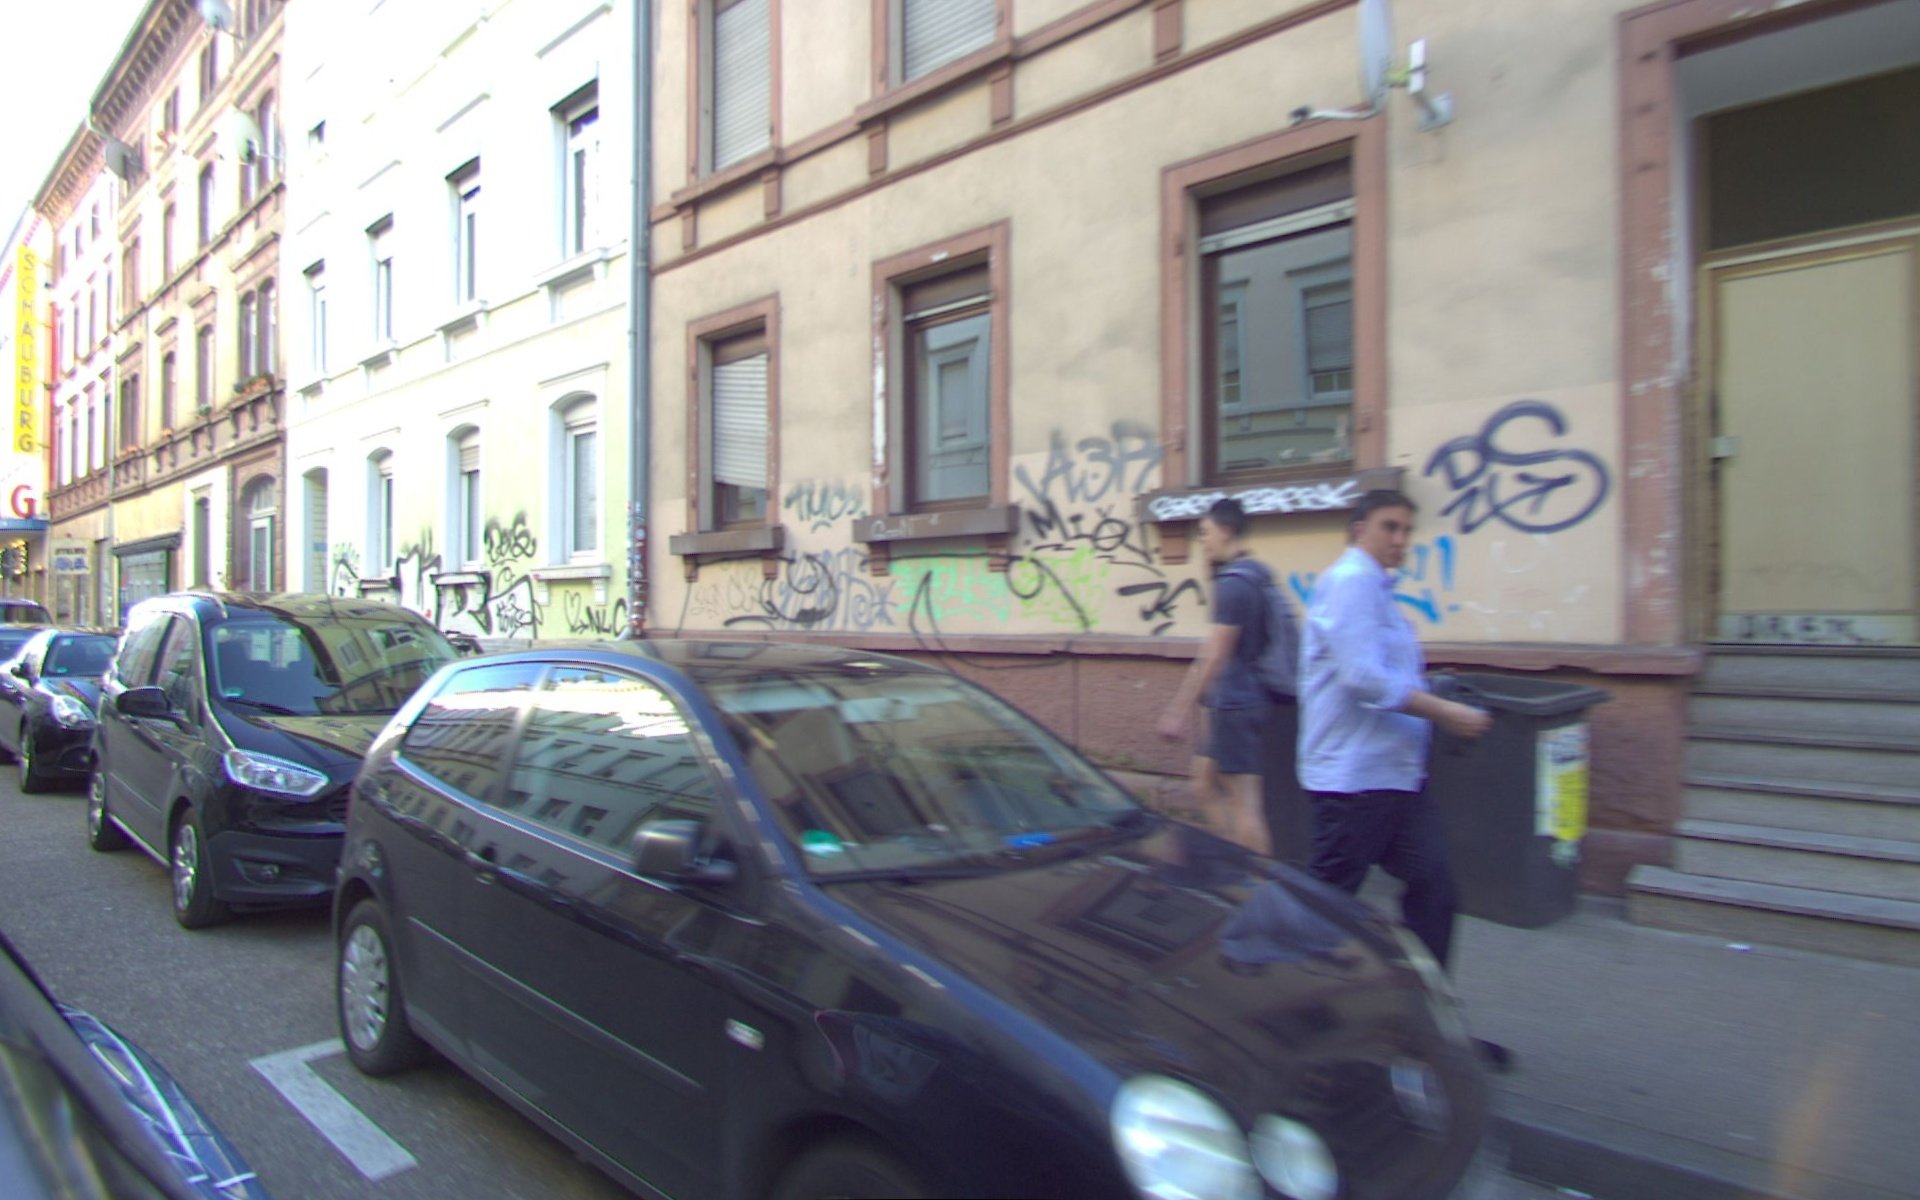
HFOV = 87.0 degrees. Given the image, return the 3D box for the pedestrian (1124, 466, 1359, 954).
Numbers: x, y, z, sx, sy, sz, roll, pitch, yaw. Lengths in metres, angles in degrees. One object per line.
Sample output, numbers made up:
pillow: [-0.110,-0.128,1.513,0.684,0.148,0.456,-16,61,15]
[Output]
pedestrian: [1.211,0.422,4.352,0.753,1.872,0.604,-1,0,40]

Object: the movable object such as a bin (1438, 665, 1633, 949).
movable object such as a bin: [2.473,0.821,4.335,0.590,1.033,0.723,-1,-1,40]

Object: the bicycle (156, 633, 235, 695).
bicycle: [-14.267,1.164,18.860,2.028,1.028,0.747,-1,2,42]

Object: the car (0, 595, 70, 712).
car: [-17.517,0.915,18.016,4.611,1.906,1.808,-1,-4,41]

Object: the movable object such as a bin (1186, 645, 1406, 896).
movable object such as a bin: [1.677,0.782,5.036,0.757,1.032,0.781,-1,3,42]

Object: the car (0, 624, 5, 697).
car: [-21.332,1.238,21.035,3.835,1.458,1.629,-1,-2,39]

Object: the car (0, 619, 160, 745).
car: [-12.588,1.020,13.623,4.639,1.451,1.844,-2,-3,39]

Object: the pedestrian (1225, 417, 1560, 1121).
pedestrian: [1.335,0.438,3.122,0.753,1.831,0.644,-1,0,41]

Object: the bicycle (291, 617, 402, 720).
bicycle: [-8.279,0.878,13.613,2.085,1.281,0.666,-1,-1,41]

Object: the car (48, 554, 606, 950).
car: [-4.142,0.729,6.374,3.997,1.711,1.782,-1,-4,40]

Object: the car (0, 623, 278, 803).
car: [-8.439,0.958,10.085,3.997,1.438,1.719,-1,-2,41]

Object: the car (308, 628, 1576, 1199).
car: [-0.439,0.811,3.002,3.652,1.451,1.575,-1,-2,41]

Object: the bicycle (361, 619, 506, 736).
bicycle: [-6.347,0.880,12.122,2.325,1.255,0.660,-1,1,40]
